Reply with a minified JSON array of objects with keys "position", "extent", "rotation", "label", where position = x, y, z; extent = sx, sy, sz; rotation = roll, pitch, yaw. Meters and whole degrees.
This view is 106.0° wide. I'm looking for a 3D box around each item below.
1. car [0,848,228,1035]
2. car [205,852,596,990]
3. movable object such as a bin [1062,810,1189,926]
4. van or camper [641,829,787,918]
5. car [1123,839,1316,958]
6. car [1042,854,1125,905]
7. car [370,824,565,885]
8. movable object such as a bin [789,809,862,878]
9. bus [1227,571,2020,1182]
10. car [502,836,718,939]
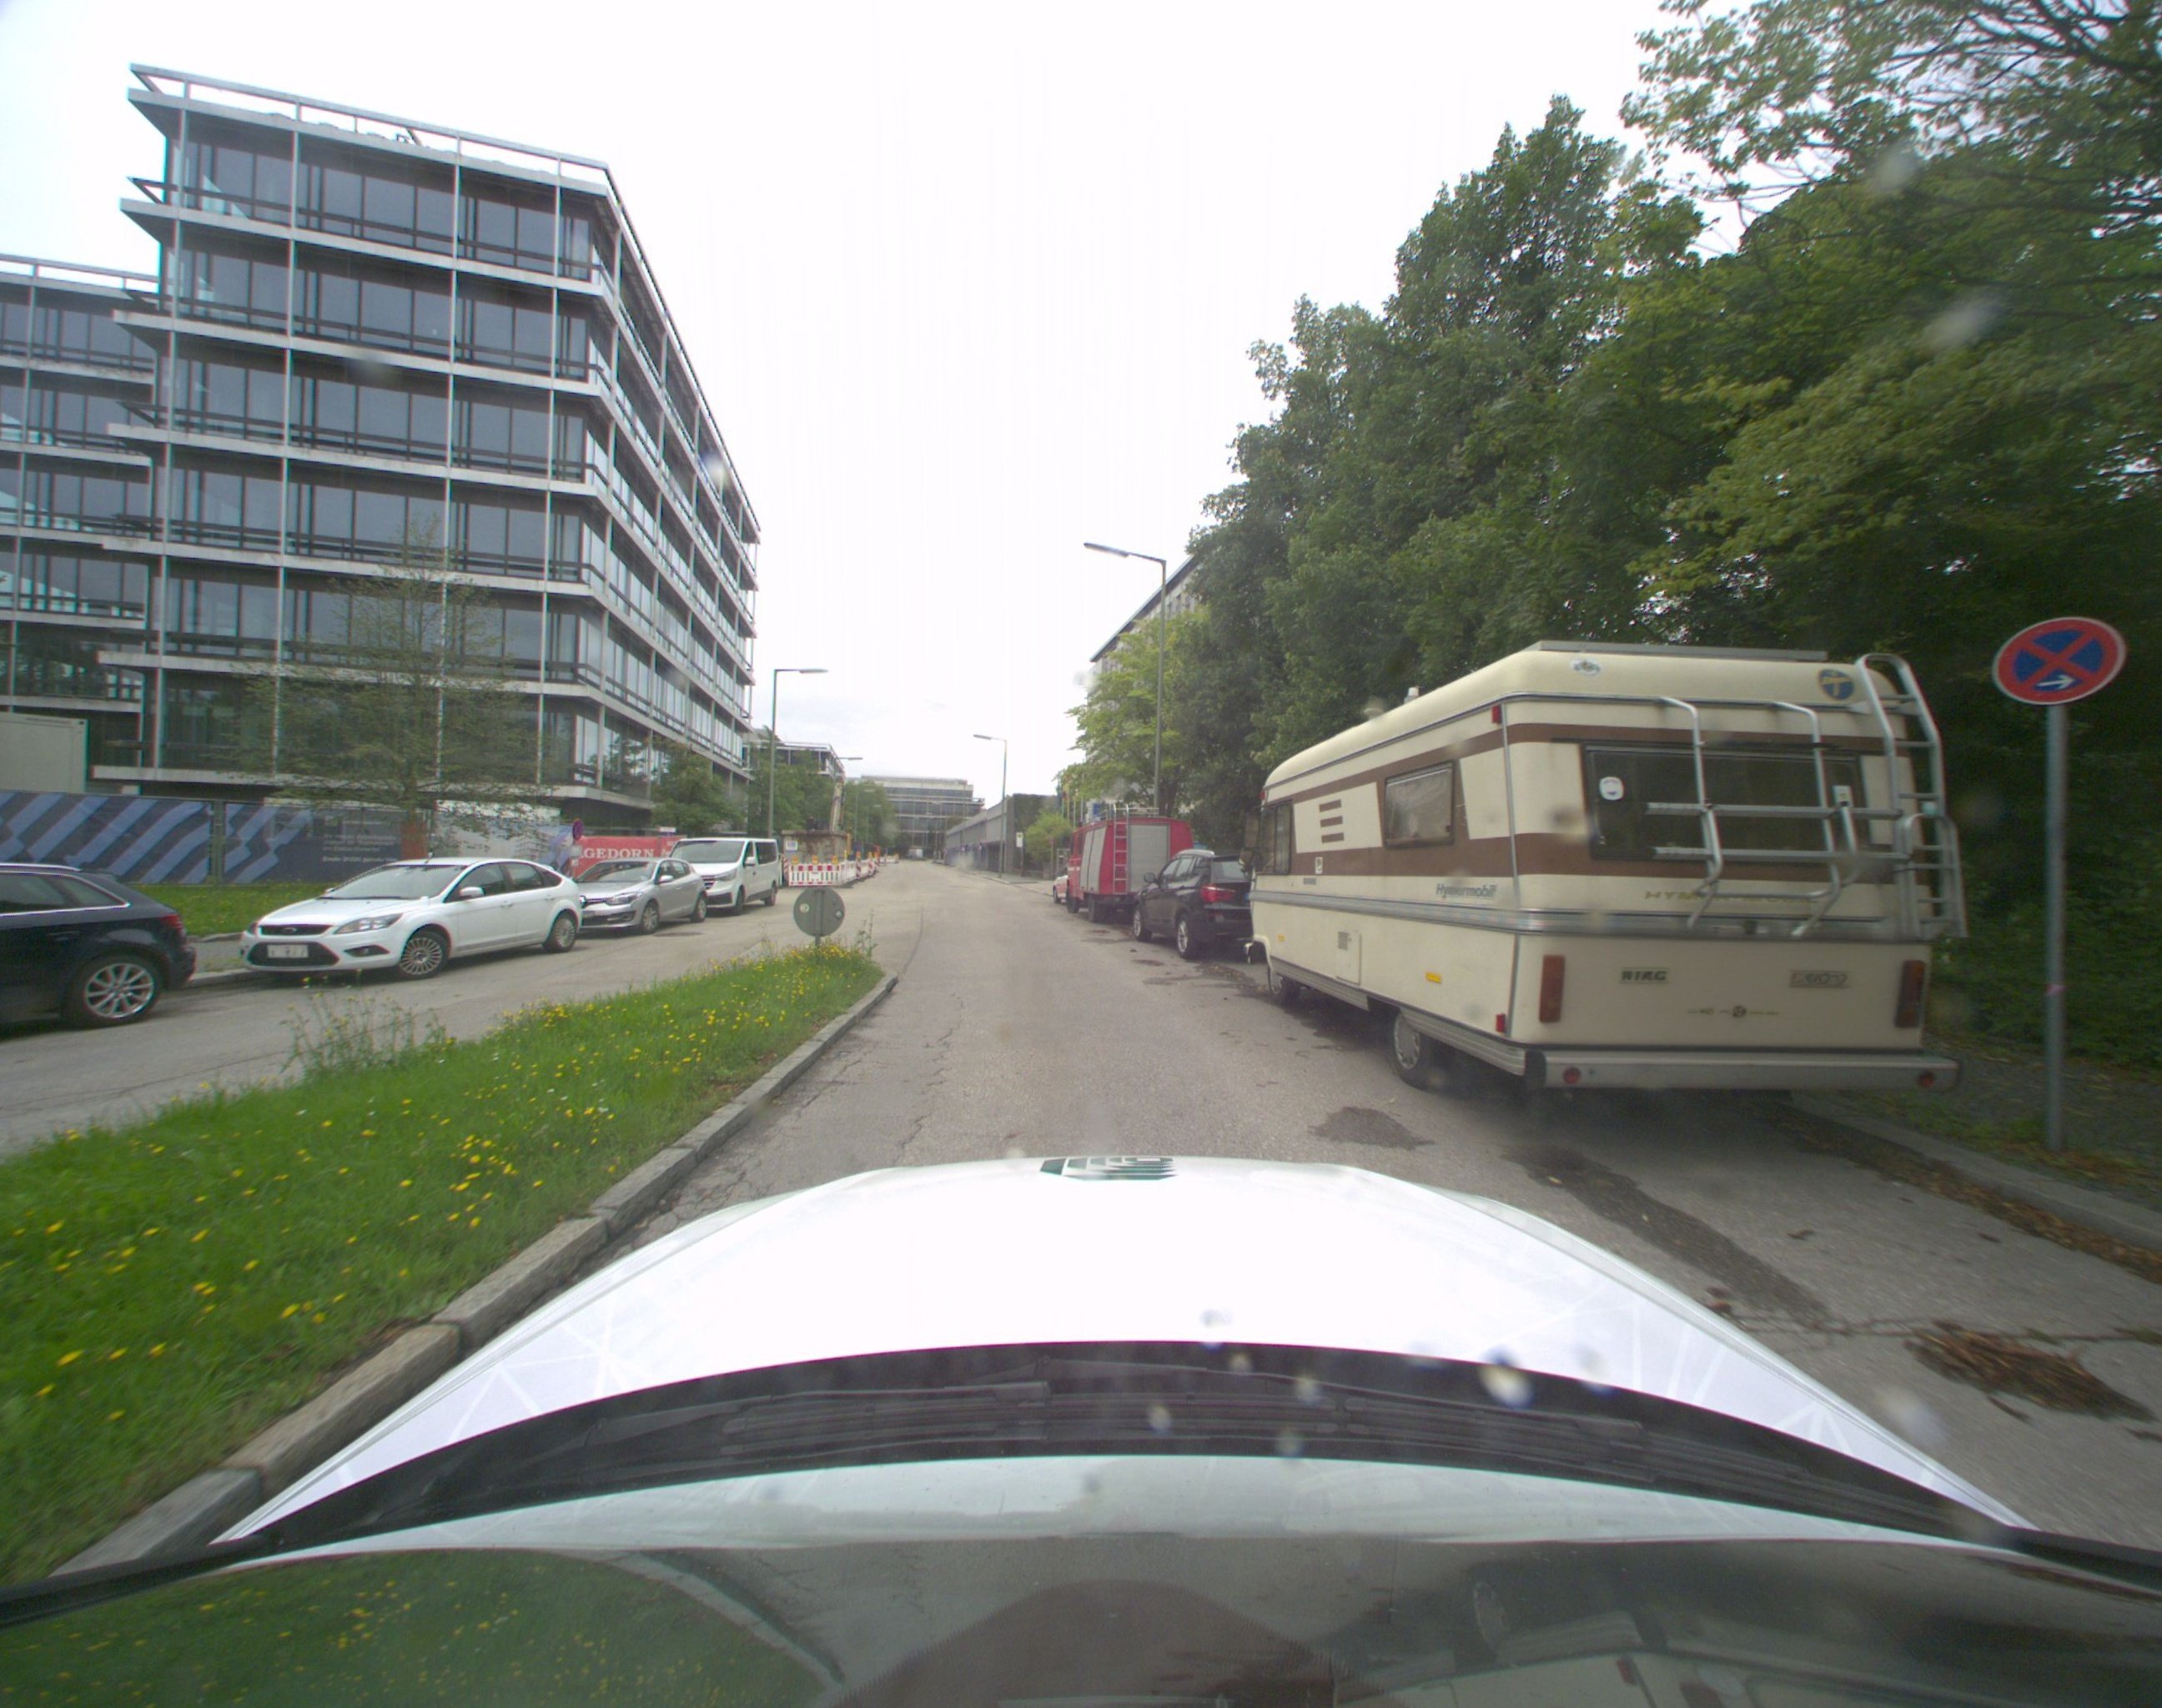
[{"position":[-9.316,0.667,5.734],"extent":[1.863,1.437,4.333],"rotation":[1,0,4],"label":"car"},{"position":[-8.821,0.740,11.168],"extent":[1.761,1.486,4.220],"rotation":[1,0,0],"label":"car"},{"position":[0.895,0.303,20.573],"extent":[2.102,2.458,6.171],"rotation":[1,0,-7],"label":"movable object such as a bin"},{"position":[-9.446,0.430,21.514],"extent":[1.992,2.013,5.363],"rotation":[1,1,-7],"label":"van or camper"},{"position":[2.086,0.624,13.678],"extent":[1.776,1.649,4.444],"rotation":[1,0,-10],"label":"car"},{"position":[-0.020,0.816,27.607],"extent":[1.779,1.549,4.236],"rotation":[1,0,-15],"label":"car"},{"position":[-20.394,0.027,27.313],"extent":[4.764,1.921,1.992],"rotation":[1,0,-12],"label":"car"},{"position":[-15.333,-0.641,49.566],"extent":[3.243,3.716,8.972],"rotation":[1,1,-12],"label":"movable object such as a bin"},{"position":[3.004,0.118,6.533],"extent":[2.310,2.699,5.728],"rotation":[1,0,-3],"label":"bus"},{"position":[-9.033,0.553,16.142],"extent":[1.991,1.728,4.441],"rotation":[1,1,-6],"label":"car"}]
